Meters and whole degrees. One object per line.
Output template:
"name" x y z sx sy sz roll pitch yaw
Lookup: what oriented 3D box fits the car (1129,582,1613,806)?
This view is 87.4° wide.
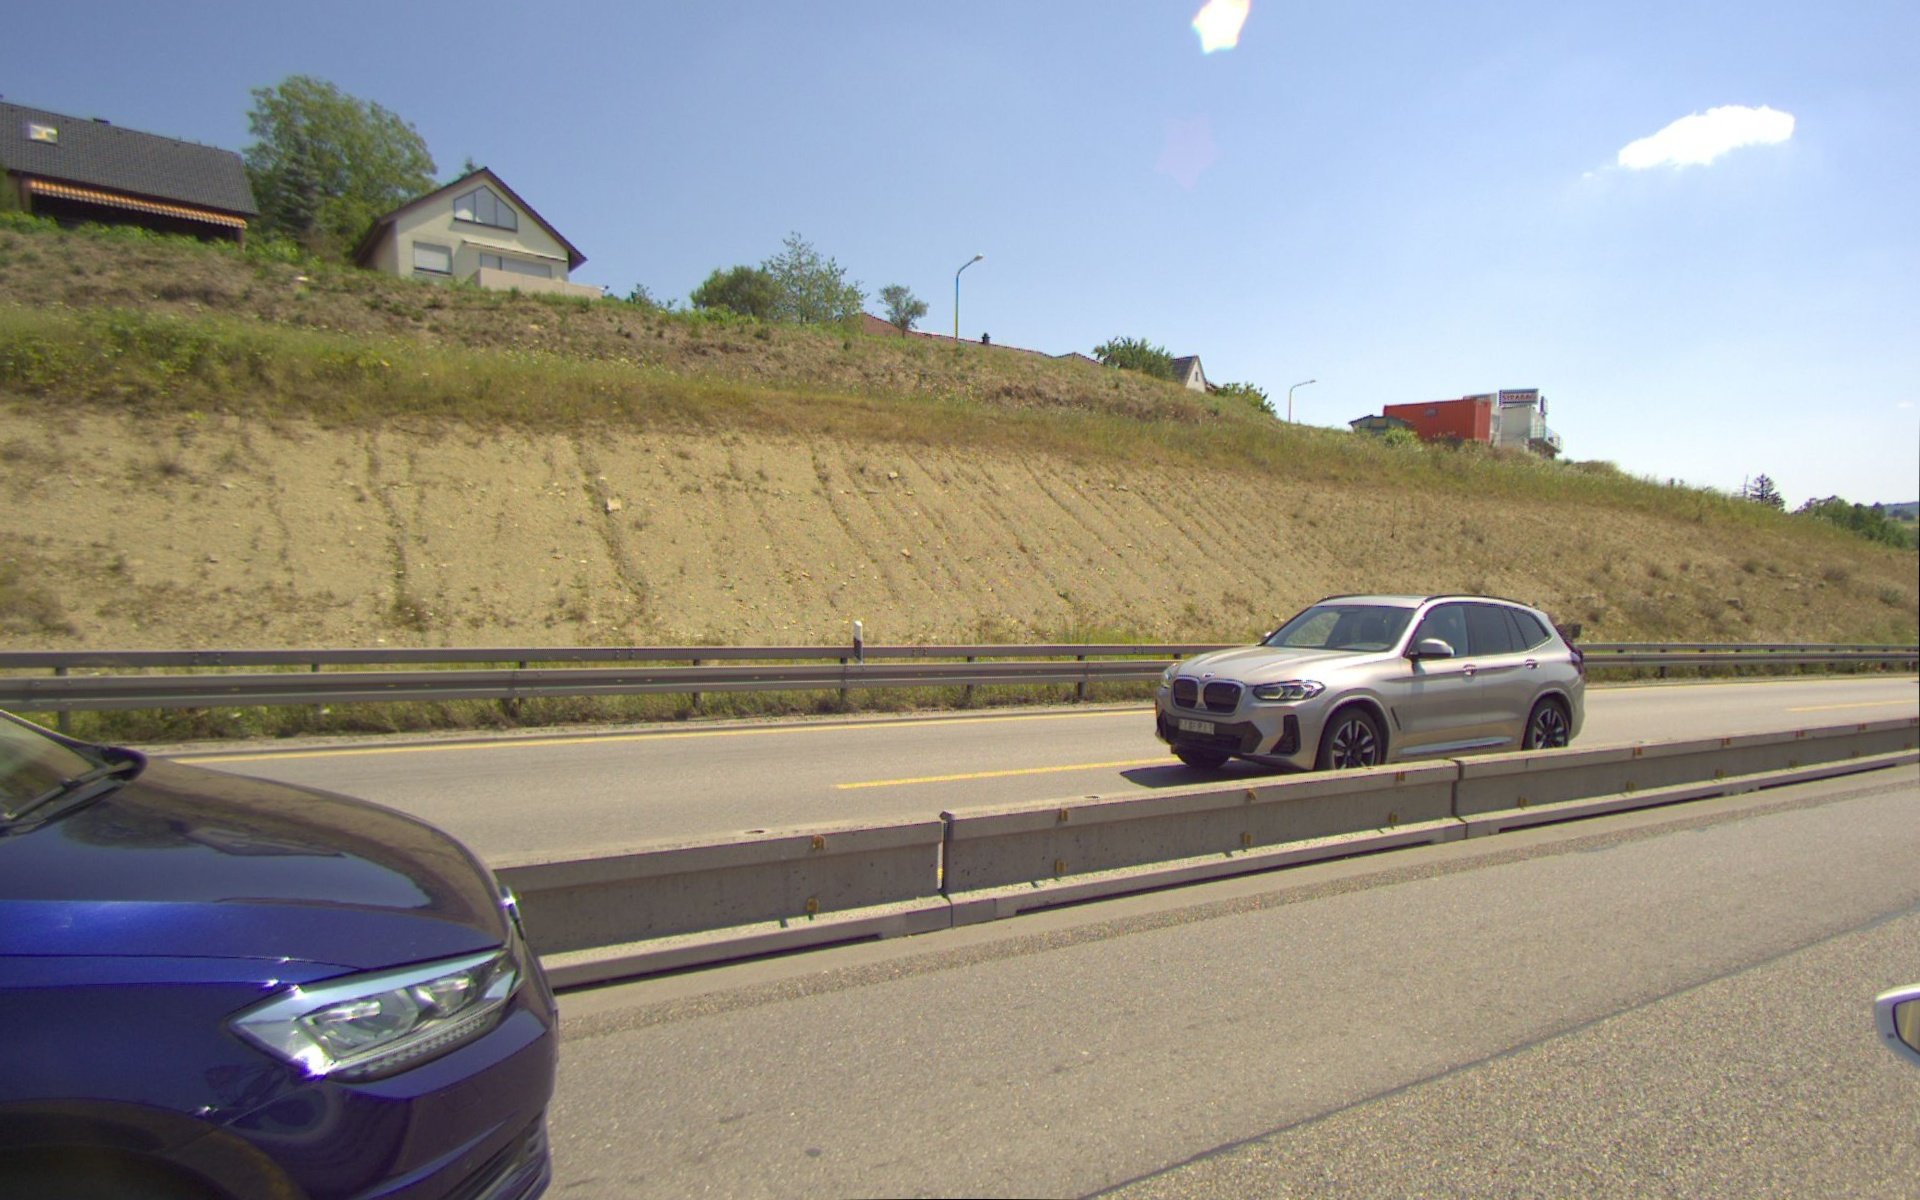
"car" 4.002 0.744 9.555 4.634 1.688 1.836 1 0 -31

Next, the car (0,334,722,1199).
"car" -2.852 0.505 1.437 4.597 1.741 1.767 0 1 -30

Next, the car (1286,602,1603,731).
"car" 7.217 0.896 14.780 5.067 1.606 1.676 1 0 -31

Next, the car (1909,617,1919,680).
"car" 28.193 1.343 27.639 4.614 1.694 1.844 1 0 -31
